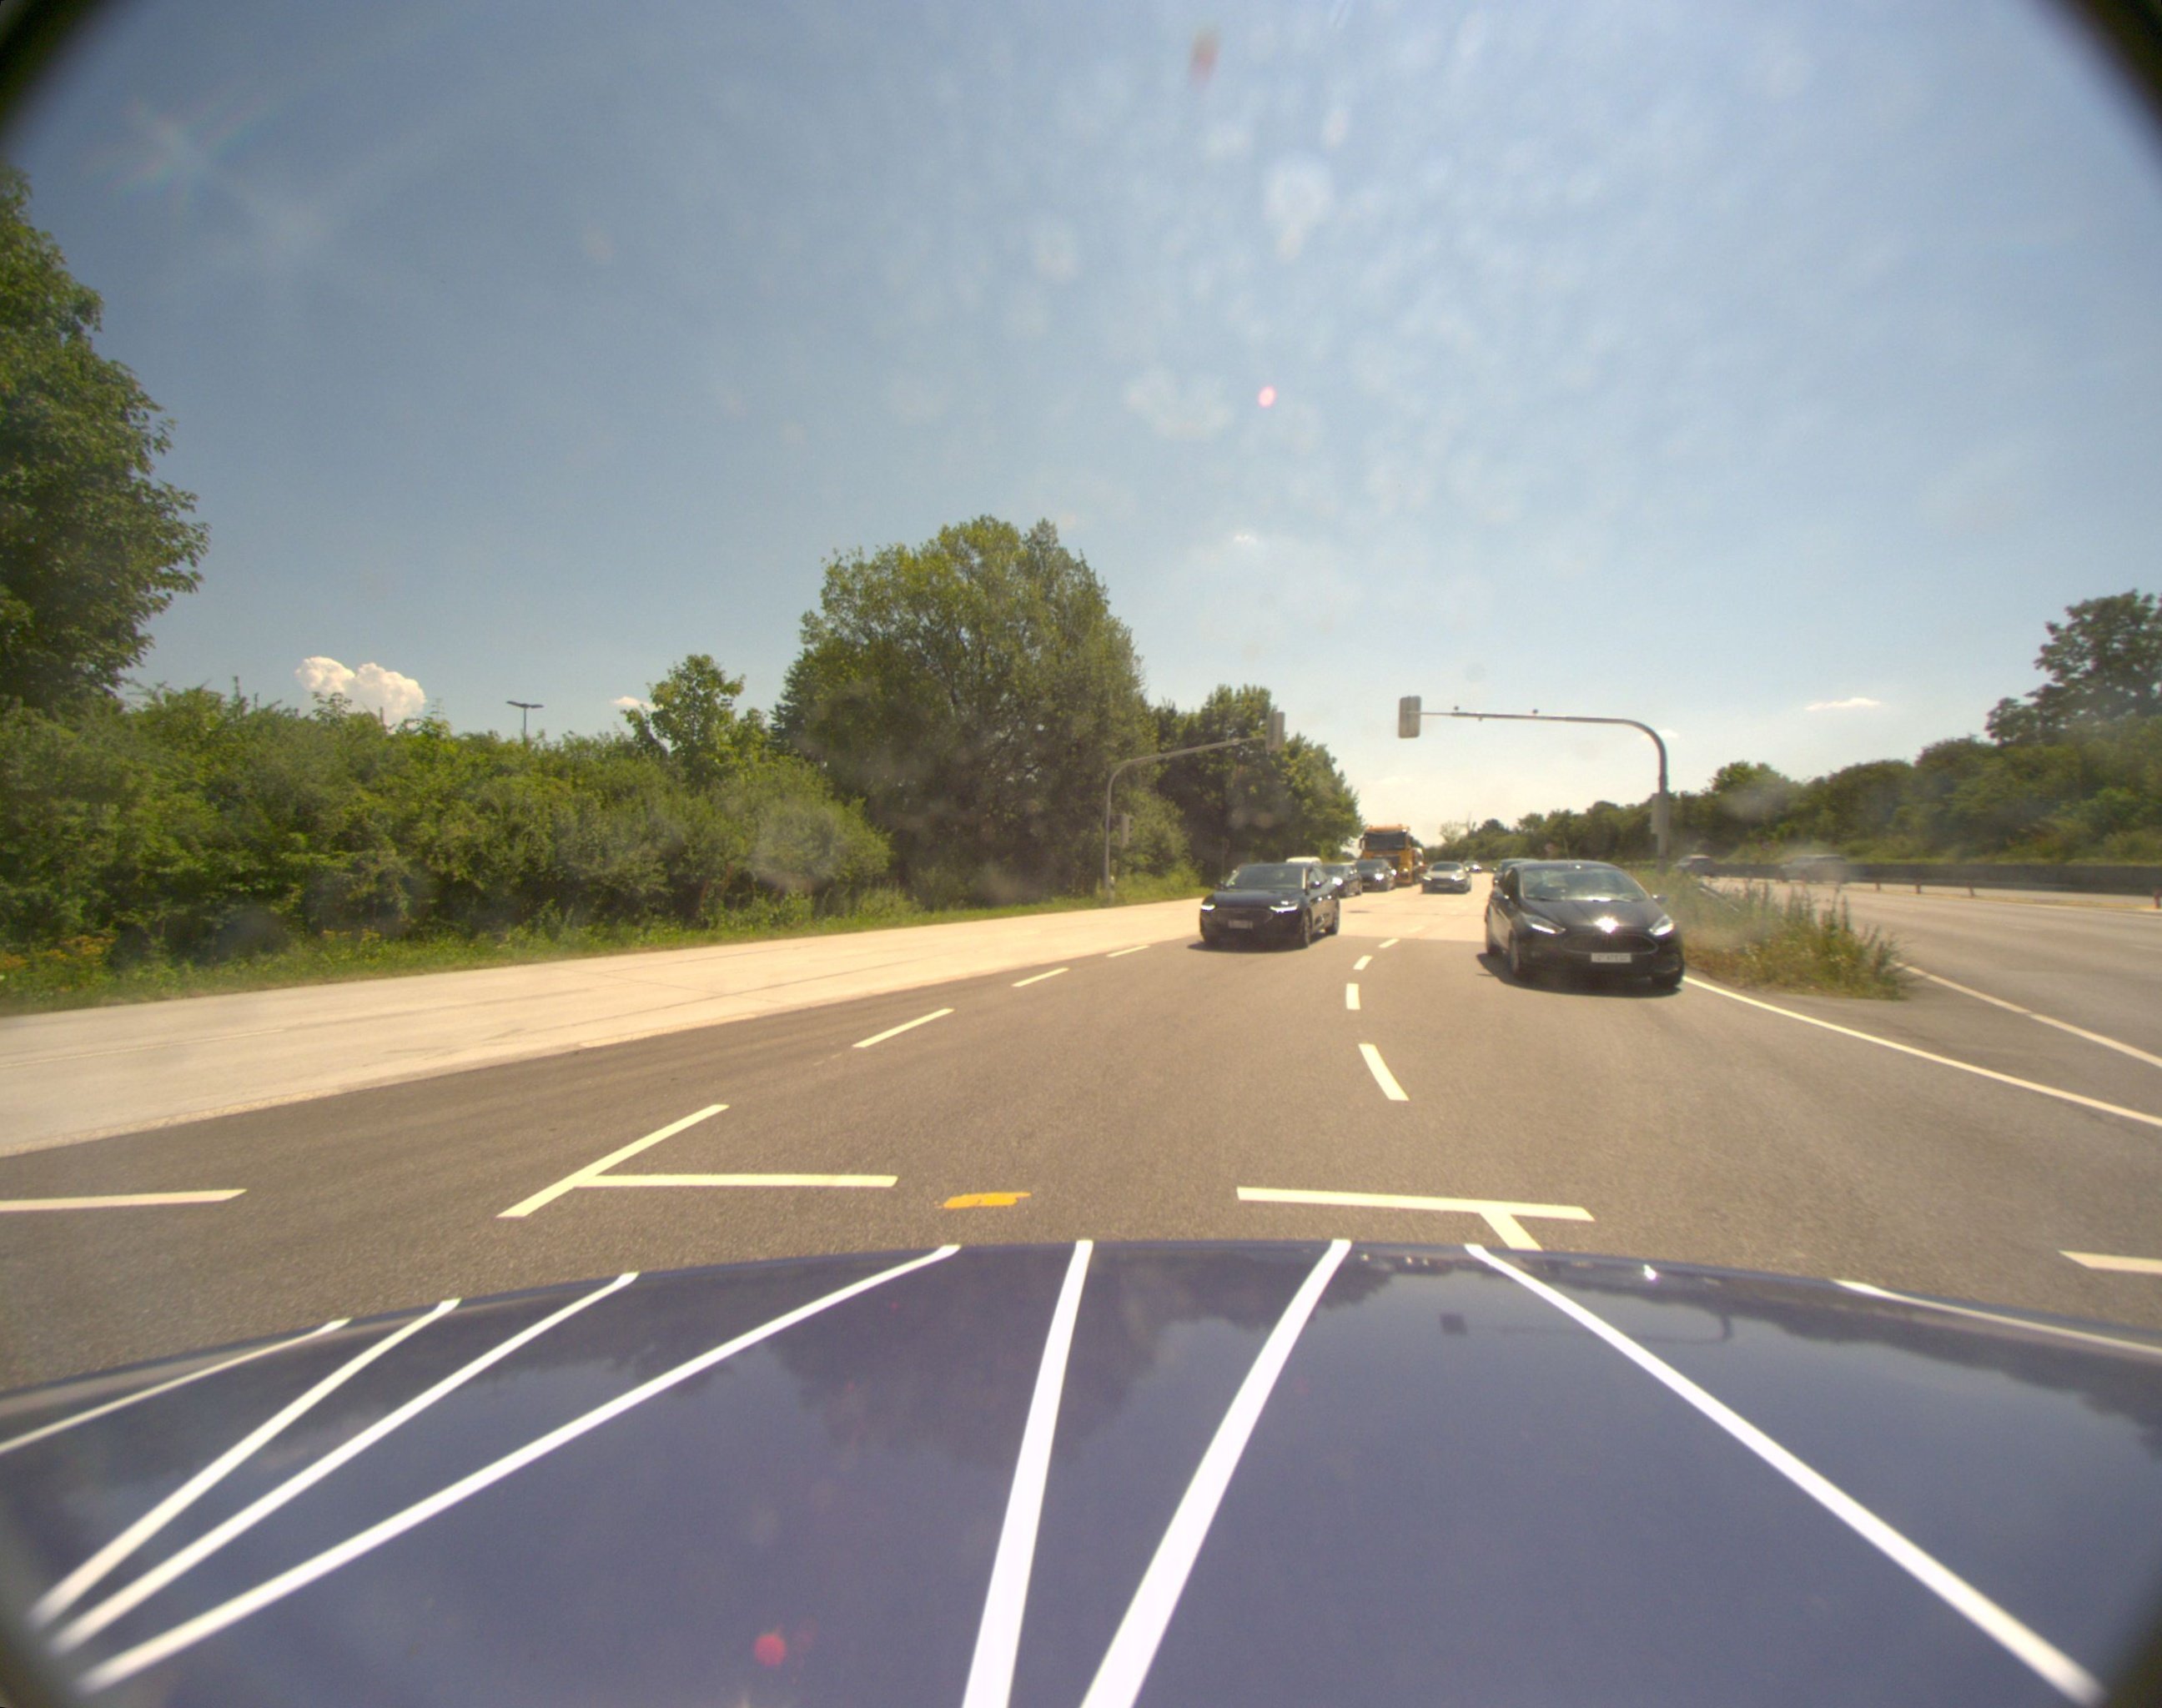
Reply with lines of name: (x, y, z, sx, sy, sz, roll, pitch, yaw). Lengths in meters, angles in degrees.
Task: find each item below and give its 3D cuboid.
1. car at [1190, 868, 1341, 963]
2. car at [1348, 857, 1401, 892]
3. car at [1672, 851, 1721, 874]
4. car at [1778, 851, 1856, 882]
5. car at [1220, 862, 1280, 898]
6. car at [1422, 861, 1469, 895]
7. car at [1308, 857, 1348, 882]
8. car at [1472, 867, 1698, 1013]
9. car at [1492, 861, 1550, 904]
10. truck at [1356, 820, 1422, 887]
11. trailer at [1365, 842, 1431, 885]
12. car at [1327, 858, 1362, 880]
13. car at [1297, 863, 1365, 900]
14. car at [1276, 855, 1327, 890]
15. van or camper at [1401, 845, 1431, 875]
car: (3.572, 0.999, 14.089, 1.727, 1.430, 4.312, -1, -1, 28)
car: (14.791, 0.977, 38.193, 1.785, 1.630, 4.656, -1, 0, 30)
car: (49.797, 0.671, 61.549, 1.995, 1.762, 4.866, 0, 0, 25)
car: (42.263, 0.703, 43.750, 1.995, 1.682, 4.666, 0, 0, 28)
car: (7.722, 1.126, 34.558, 1.769, 1.500, 3.658, -1, 0, 27)
car: (16.943, 1.078, 35.358, 1.887, 1.455, 4.007, -1, 0, 25)
car: (15.924, 0.962, 48.816, 1.769, 1.453, 4.372, -1, 0, 27)
car: (6.442, 0.951, 10.195, 1.624, 1.476, 4.006, -1, 0, 20)
car: (16.507, 1.007, 28.438, 1.702, 1.455, 4.008, -1, 0, 32)
truck: (18.820, -0.012, 46.120, 3.015, 3.750, 7.483, -1, 0, 27)
trailer: (22.649, 0.635, 53.631, 3.029, 2.578, 16.388, -1, -1, 27)
car: (18.710, 1.063, 53.786, 1.769, 1.453, 4.606, -1, 0, 26)
car: (10.641, 1.114, 32.132, 1.768, 1.402, 4.619, -1, 0, 30)
car: (12.306, 0.984, 42.183, 1.769, 1.797, 4.801, -1, 0, 28)
van or camper: (29.520, 0.488, 66.930, 2.064, 2.558, 5.919, -1, 0, 27)
